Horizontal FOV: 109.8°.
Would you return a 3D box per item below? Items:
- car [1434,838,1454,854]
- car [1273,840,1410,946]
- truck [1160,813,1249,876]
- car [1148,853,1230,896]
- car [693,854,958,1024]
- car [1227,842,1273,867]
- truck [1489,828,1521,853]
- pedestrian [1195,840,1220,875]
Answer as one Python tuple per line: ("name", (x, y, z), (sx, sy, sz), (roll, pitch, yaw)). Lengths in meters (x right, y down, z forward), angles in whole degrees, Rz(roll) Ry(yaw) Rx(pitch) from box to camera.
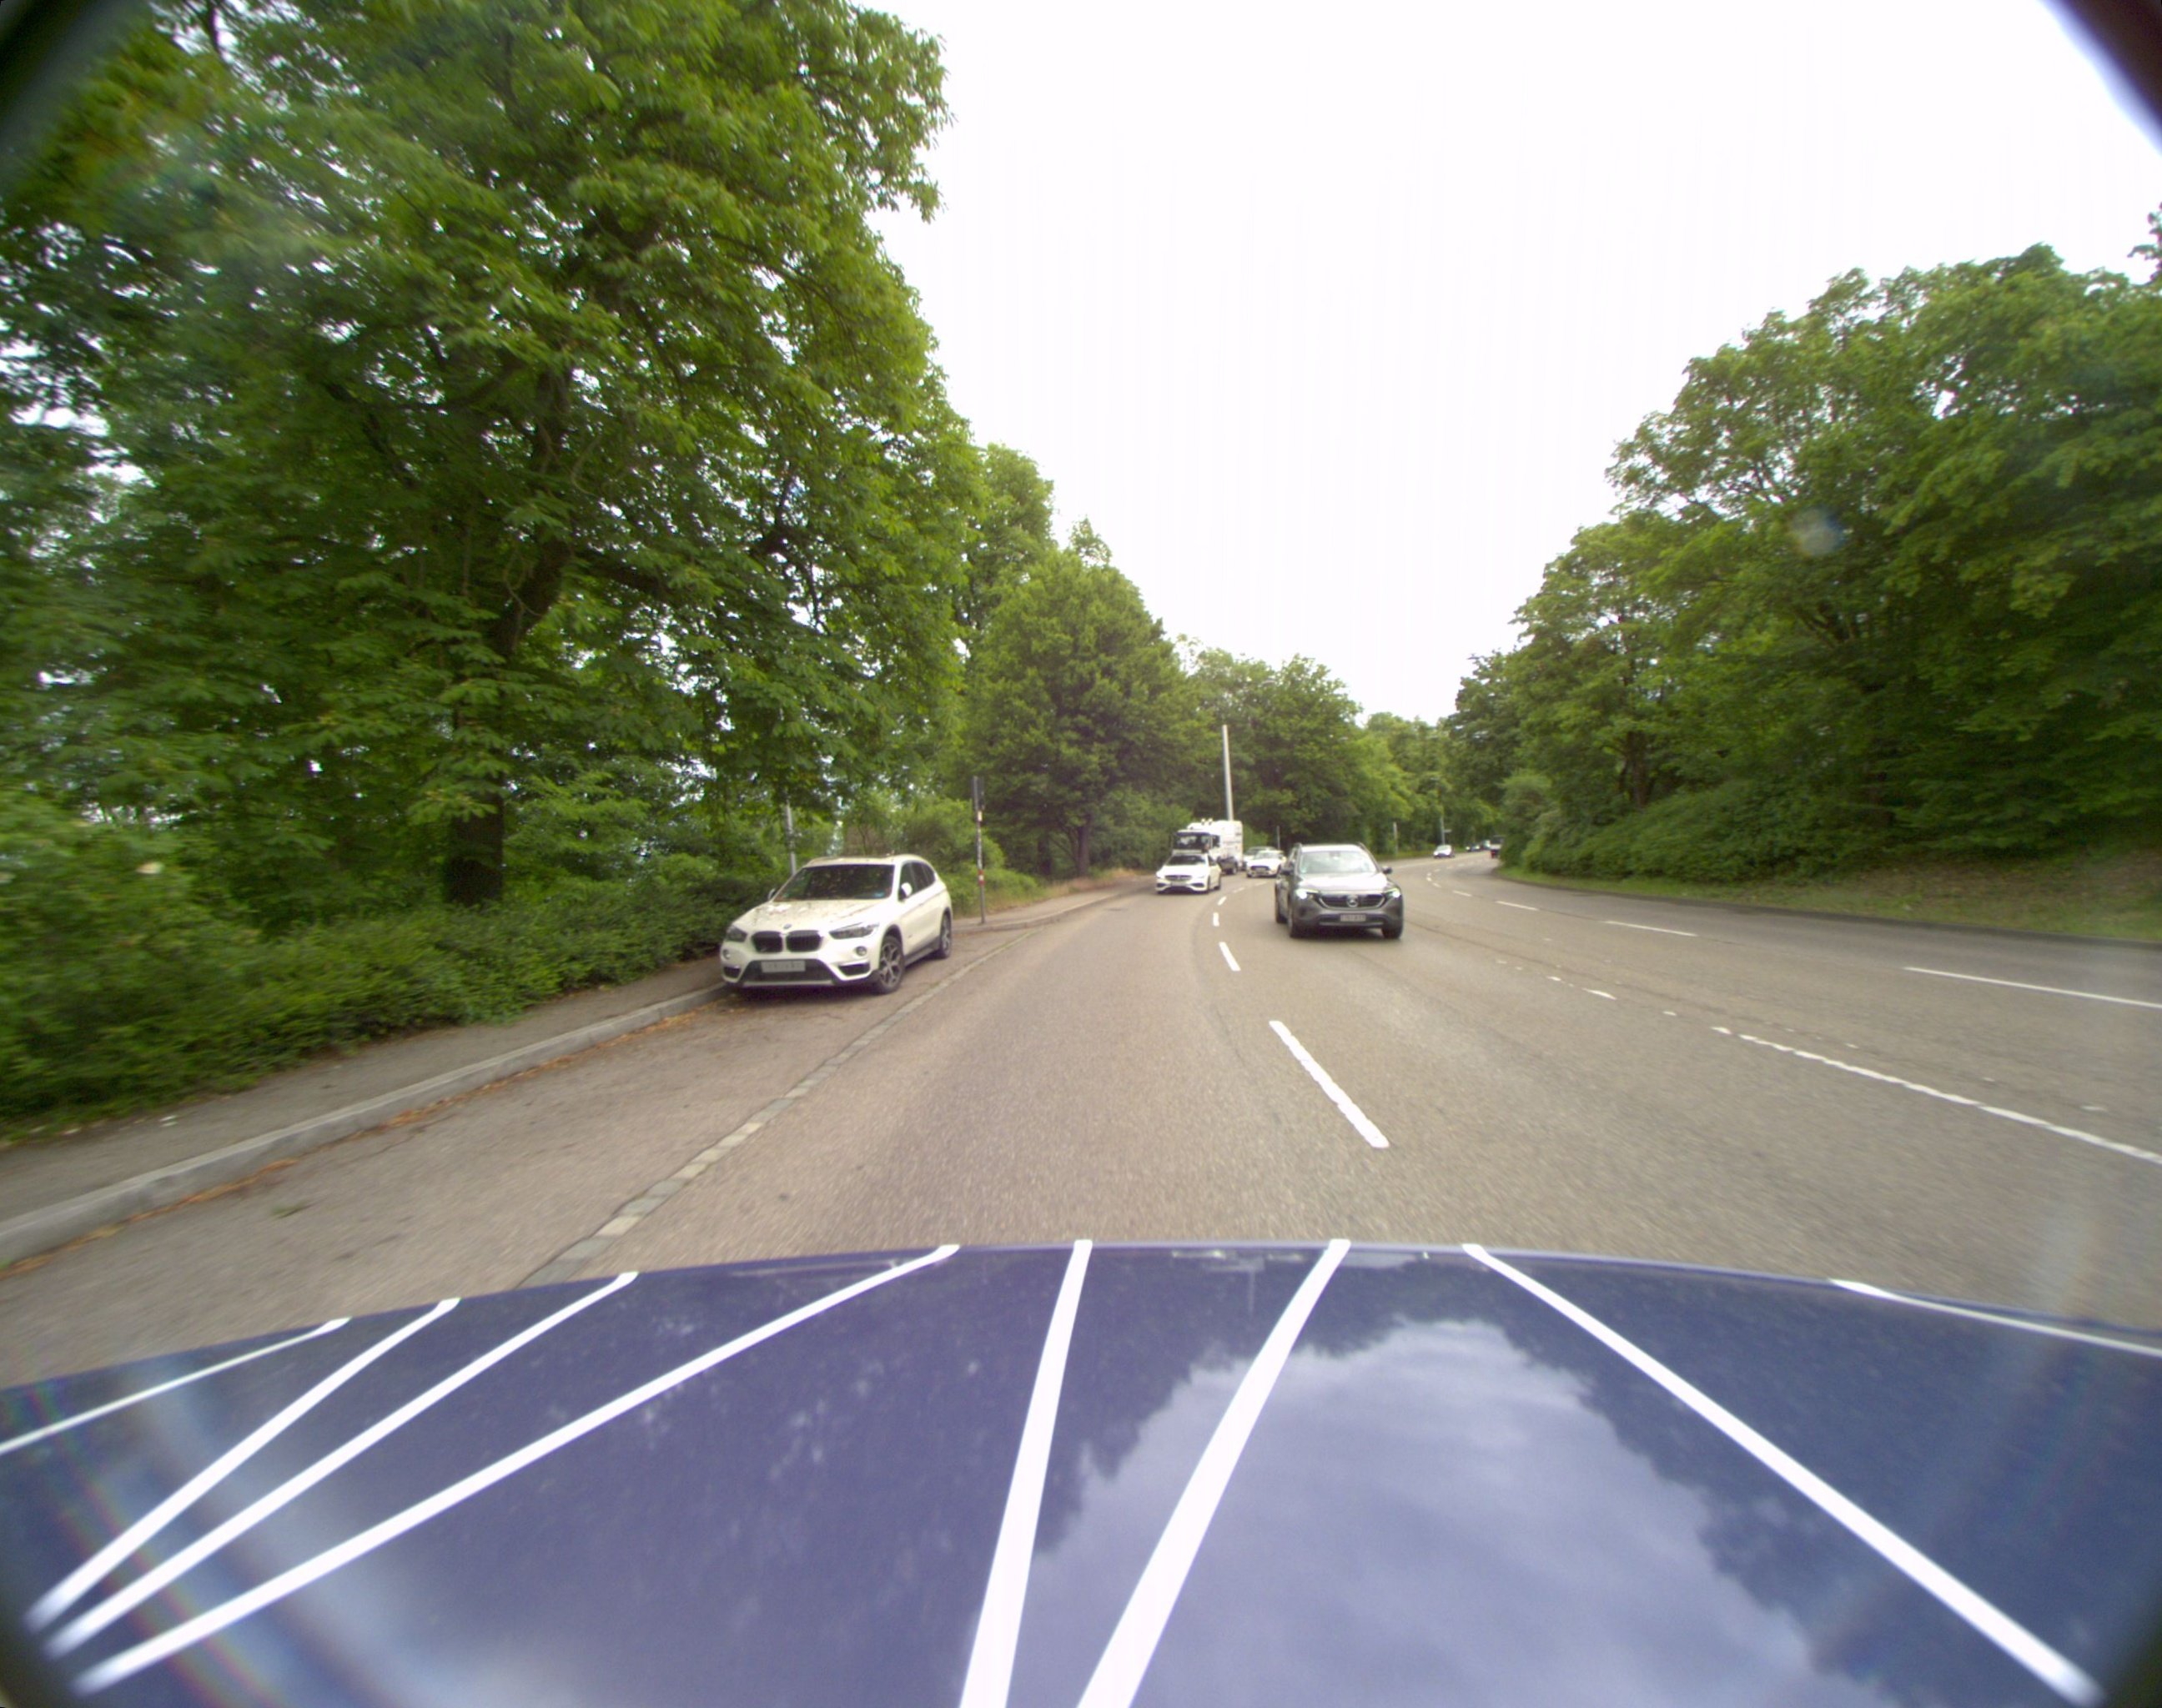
("car", (39.344, -0.863, 82.481), (1.695, 1.573, 4.006), (-4, -1, 22))
("car", (4.689, 0.596, 14.253), (1.869, 1.653, 4.195), (-1, 1, 11))
("truck", (7.139, -0.559, 42.979), (2.484, 3.162, 7.241), (-4, 0, 29))
("car", (3.945, 0.658, 27.093), (1.894, 1.289, 4.334), (0, 2, 22))
("car", (-2.925, 0.862, 9.832), (1.762, 1.643, 4.381), (-1, 1, 2))
("car", (11.536, -0.003, 51.686), (1.804, 1.516, 4.007), (-2, 0, 31))
("truck", (43.692, -1.399, 78.179), (2.162, 2.356, 6.691), (-3, -1, 35))
("pedestrian", (6.588, 0.169, 39.660), (0.917, 1.823, 0.986), (2, 2, 33))
